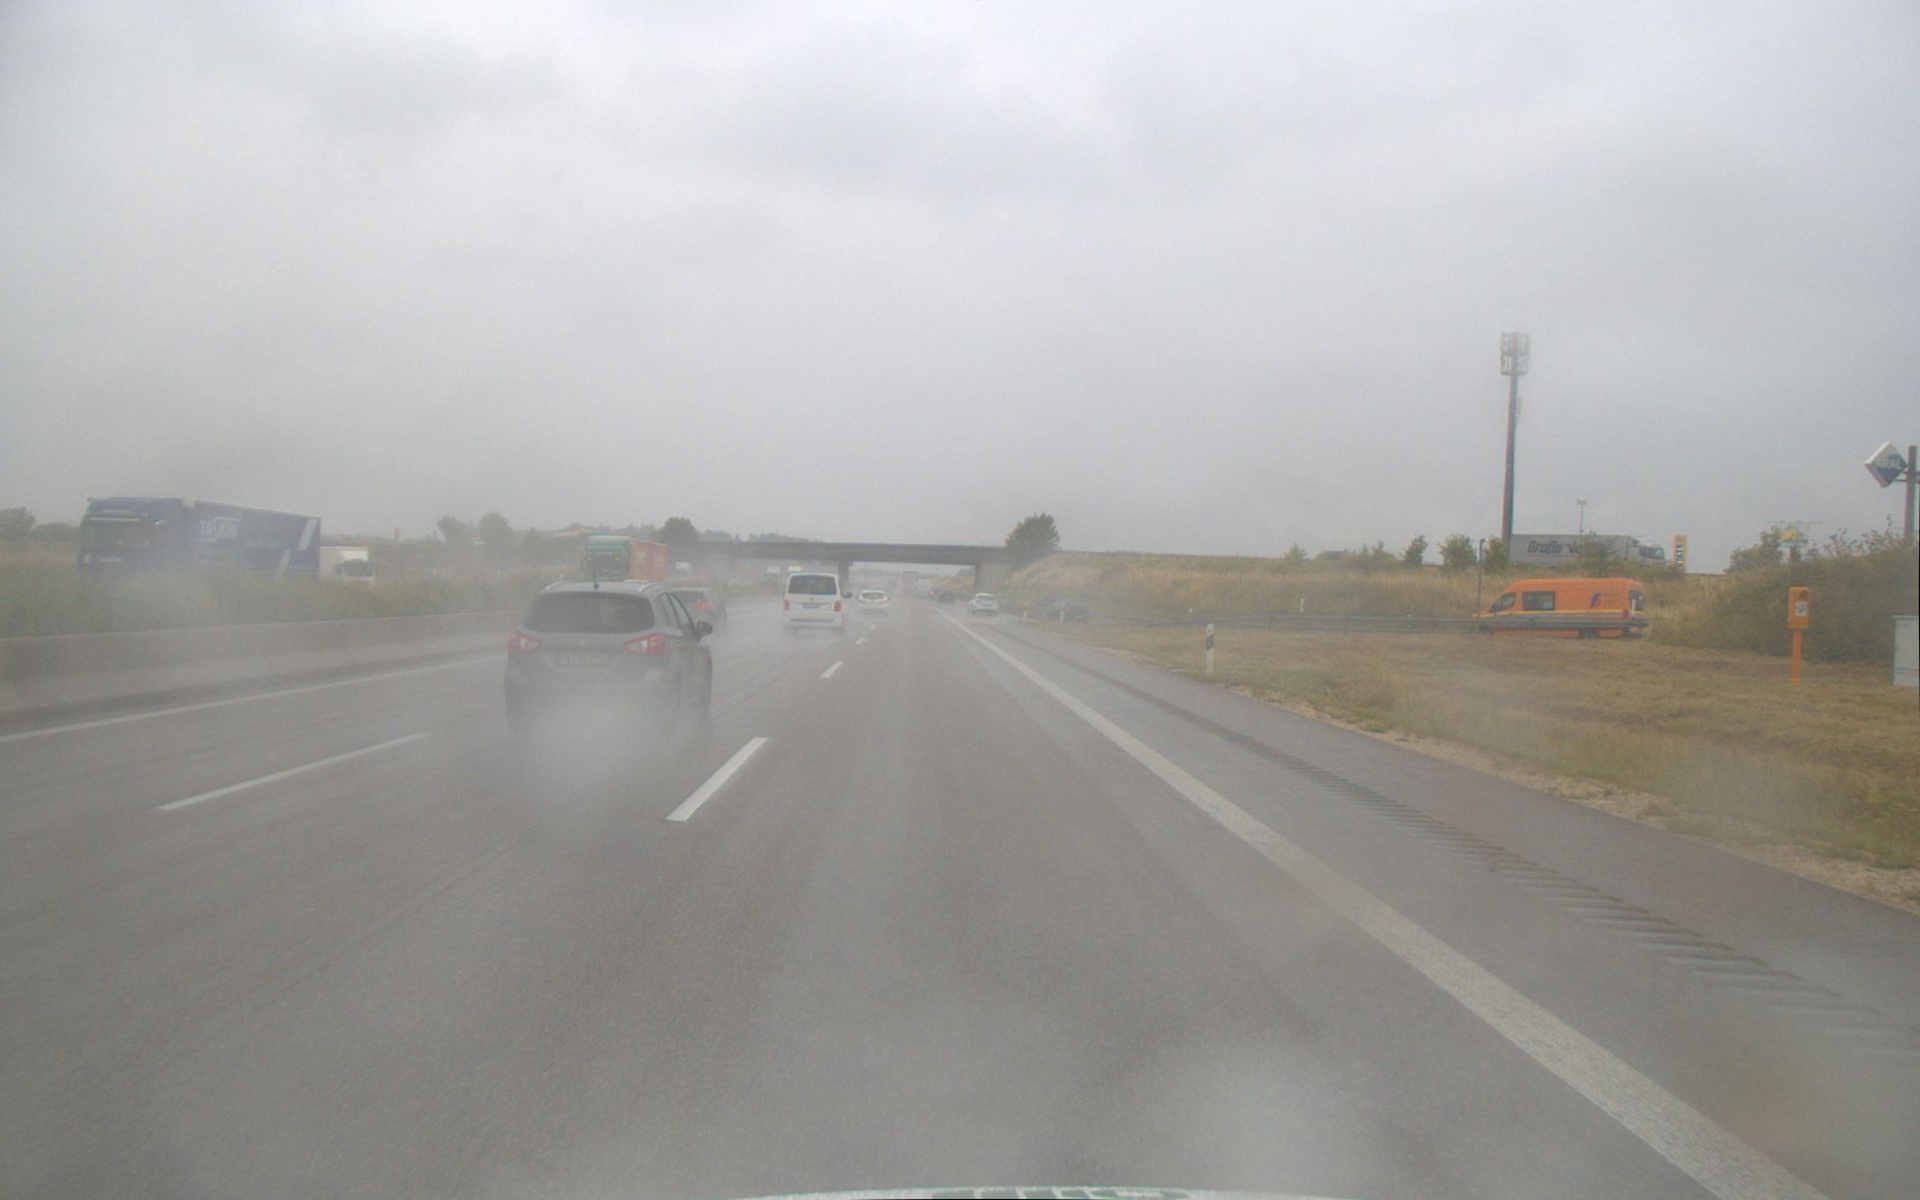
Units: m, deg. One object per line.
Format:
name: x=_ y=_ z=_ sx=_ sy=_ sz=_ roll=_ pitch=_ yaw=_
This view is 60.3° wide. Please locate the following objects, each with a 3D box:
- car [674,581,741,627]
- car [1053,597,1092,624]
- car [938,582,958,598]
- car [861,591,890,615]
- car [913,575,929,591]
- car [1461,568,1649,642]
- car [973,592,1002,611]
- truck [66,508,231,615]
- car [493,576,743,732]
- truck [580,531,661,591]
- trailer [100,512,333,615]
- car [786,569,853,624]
car: x=-8.017 y=0.138 z=52.817 sx=1.580 sy=1.378 sz=3.999 roll=1 pitch=0 yaw=-1
car: x=6.447 y=0.592 z=95.024 sx=1.698 sy=1.446 sz=3.655 roll=1 pitch=0 yaw=-5
car: x=-1.205 y=-1.033 z=165.283 sx=1.765 sy=1.534 sz=3.997 roll=1 pitch=1 yaw=-4
car: x=-4.510 y=0.160 z=88.425 sx=1.438 sy=1.229 sz=2.991 roll=1 pitch=0 yaw=-1
car: x=-5.260 y=-2.256 z=222.730 sx=1.954 sy=2.138 sz=3.996 roll=1 pitch=1 yaw=-5
car: x=23.839 y=0.175 z=66.433 sx=6.758 sy=2.661 sz=2.057 roll=3 pitch=0 yaw=40
car: x=1.943 y=0.121 z=116.325 sx=1.953 sy=1.288 sz=4.000 roll=1 pitch=0 yaw=0
truck: x=-27.784 y=-1.270 z=56.900 sx=3.037 sy=3.481 sz=5.682 roll=0 pitch=0 yaw=-3
car: x=-3.737 y=0.538 z=18.931 sx=1.808 sy=1.539 sz=4.757 roll=1 pitch=0 yaw=0
truck: x=-20.993 y=-2.320 z=102.794 sx=3.200 sy=3.501 sz=10.126 roll=0 pitch=0 yaw=-2
trailer: x=-28.055 y=-1.302 z=63.560 sx=3.052 sy=3.477 sz=14.228 roll=0 pitch=0 yaw=-2
car: x=-4.402 y=-0.100 z=52.313 sx=1.859 sy=1.613 sz=3.998 roll=1 pitch=0 yaw=-2
